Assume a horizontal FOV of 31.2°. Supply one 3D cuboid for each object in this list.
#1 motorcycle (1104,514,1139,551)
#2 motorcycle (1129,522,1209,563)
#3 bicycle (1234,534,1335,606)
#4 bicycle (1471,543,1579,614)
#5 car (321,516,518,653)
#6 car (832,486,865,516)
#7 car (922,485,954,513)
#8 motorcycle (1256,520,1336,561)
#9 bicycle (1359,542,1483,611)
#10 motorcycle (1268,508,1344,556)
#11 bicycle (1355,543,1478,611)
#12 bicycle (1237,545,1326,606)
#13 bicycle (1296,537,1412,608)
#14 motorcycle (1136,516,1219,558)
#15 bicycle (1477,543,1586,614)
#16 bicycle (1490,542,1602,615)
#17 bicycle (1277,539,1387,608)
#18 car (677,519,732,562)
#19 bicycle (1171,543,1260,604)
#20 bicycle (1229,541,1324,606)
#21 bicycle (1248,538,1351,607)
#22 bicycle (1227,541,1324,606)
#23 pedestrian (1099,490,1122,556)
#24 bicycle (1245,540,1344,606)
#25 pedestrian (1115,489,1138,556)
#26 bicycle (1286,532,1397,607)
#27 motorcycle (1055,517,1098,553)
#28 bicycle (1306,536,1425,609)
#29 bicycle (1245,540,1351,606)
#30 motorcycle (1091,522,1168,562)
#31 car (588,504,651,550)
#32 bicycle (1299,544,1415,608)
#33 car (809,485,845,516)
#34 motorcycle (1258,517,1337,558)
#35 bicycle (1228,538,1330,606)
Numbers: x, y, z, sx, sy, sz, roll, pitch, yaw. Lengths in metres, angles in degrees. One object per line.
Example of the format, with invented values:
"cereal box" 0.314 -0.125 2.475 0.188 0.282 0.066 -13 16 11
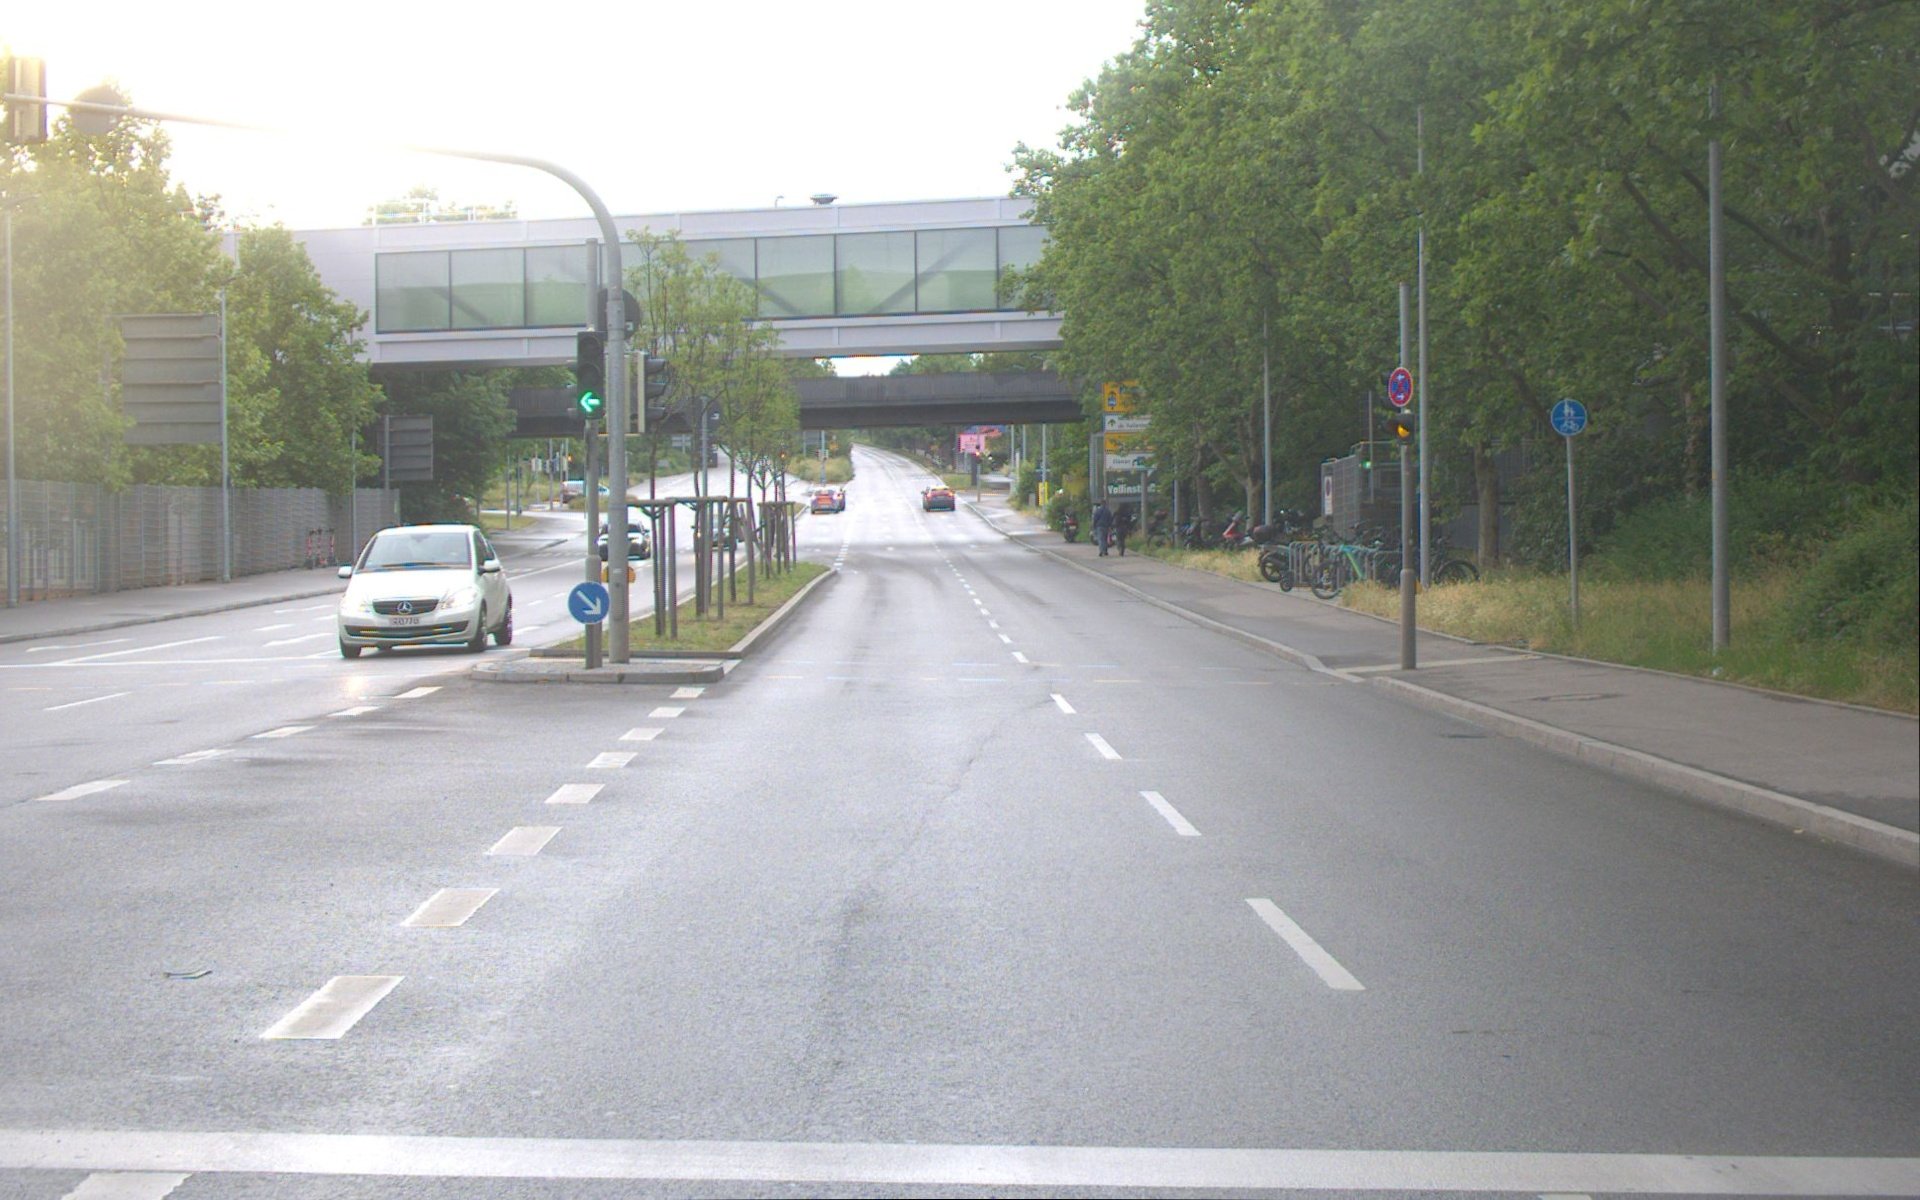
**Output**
"motorcycle" 5.862 -2.445 124.632 0.790 1.307 2.377 -2 1 -9
"motorcycle" 6.427 -1.782 105.747 2.369 1.198 0.722 -1 1 8
"bicycle" 6.769 -0.621 71.769 1.990 1.425 0.723 2 0 1
"bicycle" 11.080 -0.417 67.425 1.990 1.324 0.576 2 0 1
"car" -6.757 -0.225 43.321 1.877 1.619 3.779 -1 1 0
"car" -7.048 -6.260 217.750 1.884 1.756 3.969 2 0 0
"car" -1.332 -6.091 207.133 1.875 1.492 4.068 2 0 0
"motorcycle" 10.222 -1.813 104.424 2.369 1.198 0.722 -1 1 8
"bicycle" 7.779 -0.397 58.064 1.990 1.091 0.541 2 0 1
"motorcycle" 11.195 -2.198 111.243 2.369 1.471 0.722 -1 1 8
"bicycle" 7.776 -0.398 58.633 1.990 1.091 0.541 2 0 1
"bicycle" 7.433 -0.565 79.473 1.963 1.324 0.654 2 0 1
"bicycle" 7.133 -0.494 62.284 1.990 1.229 0.541 2 0 1
"motorcycle" 6.430 -1.863 101.628 2.369 1.198 0.722 -1 1 8
"bicycle" 11.106 -0.415 66.800 1.990 1.324 0.576 2 0 1
"bicycle" 11.135 -0.411 65.371 1.990 1.324 0.576 2 0 1
"bicycle" 7.031 -0.507 65.054 1.990 1.237 0.541 2 0 1
"car" -10.100 -2.357 135.929 1.877 1.619 3.779 -1 1 0
"bicycle" 5.834 -0.612 78.592 1.963 1.324 0.654 2 0 1
"bicycle" 6.862 -0.573 74.572 1.960 1.324 0.576 2 0 1
"bicycle" 6.839 -0.552 69.283 1.990 1.324 0.576 2 0 1
"bicycle" 6.730 -0.563 73.335 1.990 1.324 0.576 2 0 1
"pedestrian" 4.624 -2.354 105.578 0.622 2.007 0.605 -1 1 0
"bicycle" 7.063 -0.563 72.622 1.990 1.324 0.576 2 0 1
"pedestrian" 5.071 -2.369 104.925 0.622 2.007 0.605 -1 1 0
"bicycle" 7.134 -0.568 64.361 1.990 1.336 0.541 2 0 1
"motorcycle" 4.391 -2.449 129.661 0.790 1.307 2.377 -2 1 -18
"bicycle" 7.084 -0.483 60.094 1.990 1.212 0.541 2 0 1
"bicycle" 6.612 -0.524 67.378 1.990 1.237 0.541 2 0 1
"motorcycle" 5.432 -1.857 110.057 2.369 1.198 0.722 -1 1 8
"car" -12.297 -2.642 124.293 1.877 1.619 3.779 -1 1 0
"bicycle" 7.120 -0.429 61.702 1.990 1.091 0.541 2 0 1
"car" -8.162 -6.096 211.072 1.993 1.756 4.000 2 0 0
"motorcycle" 10.363 -1.929 105.501 2.369 1.198 0.722 -1 1 8
"bicycle" 6.509 -0.564 70.093 1.990 1.324 0.576 2 0 1
